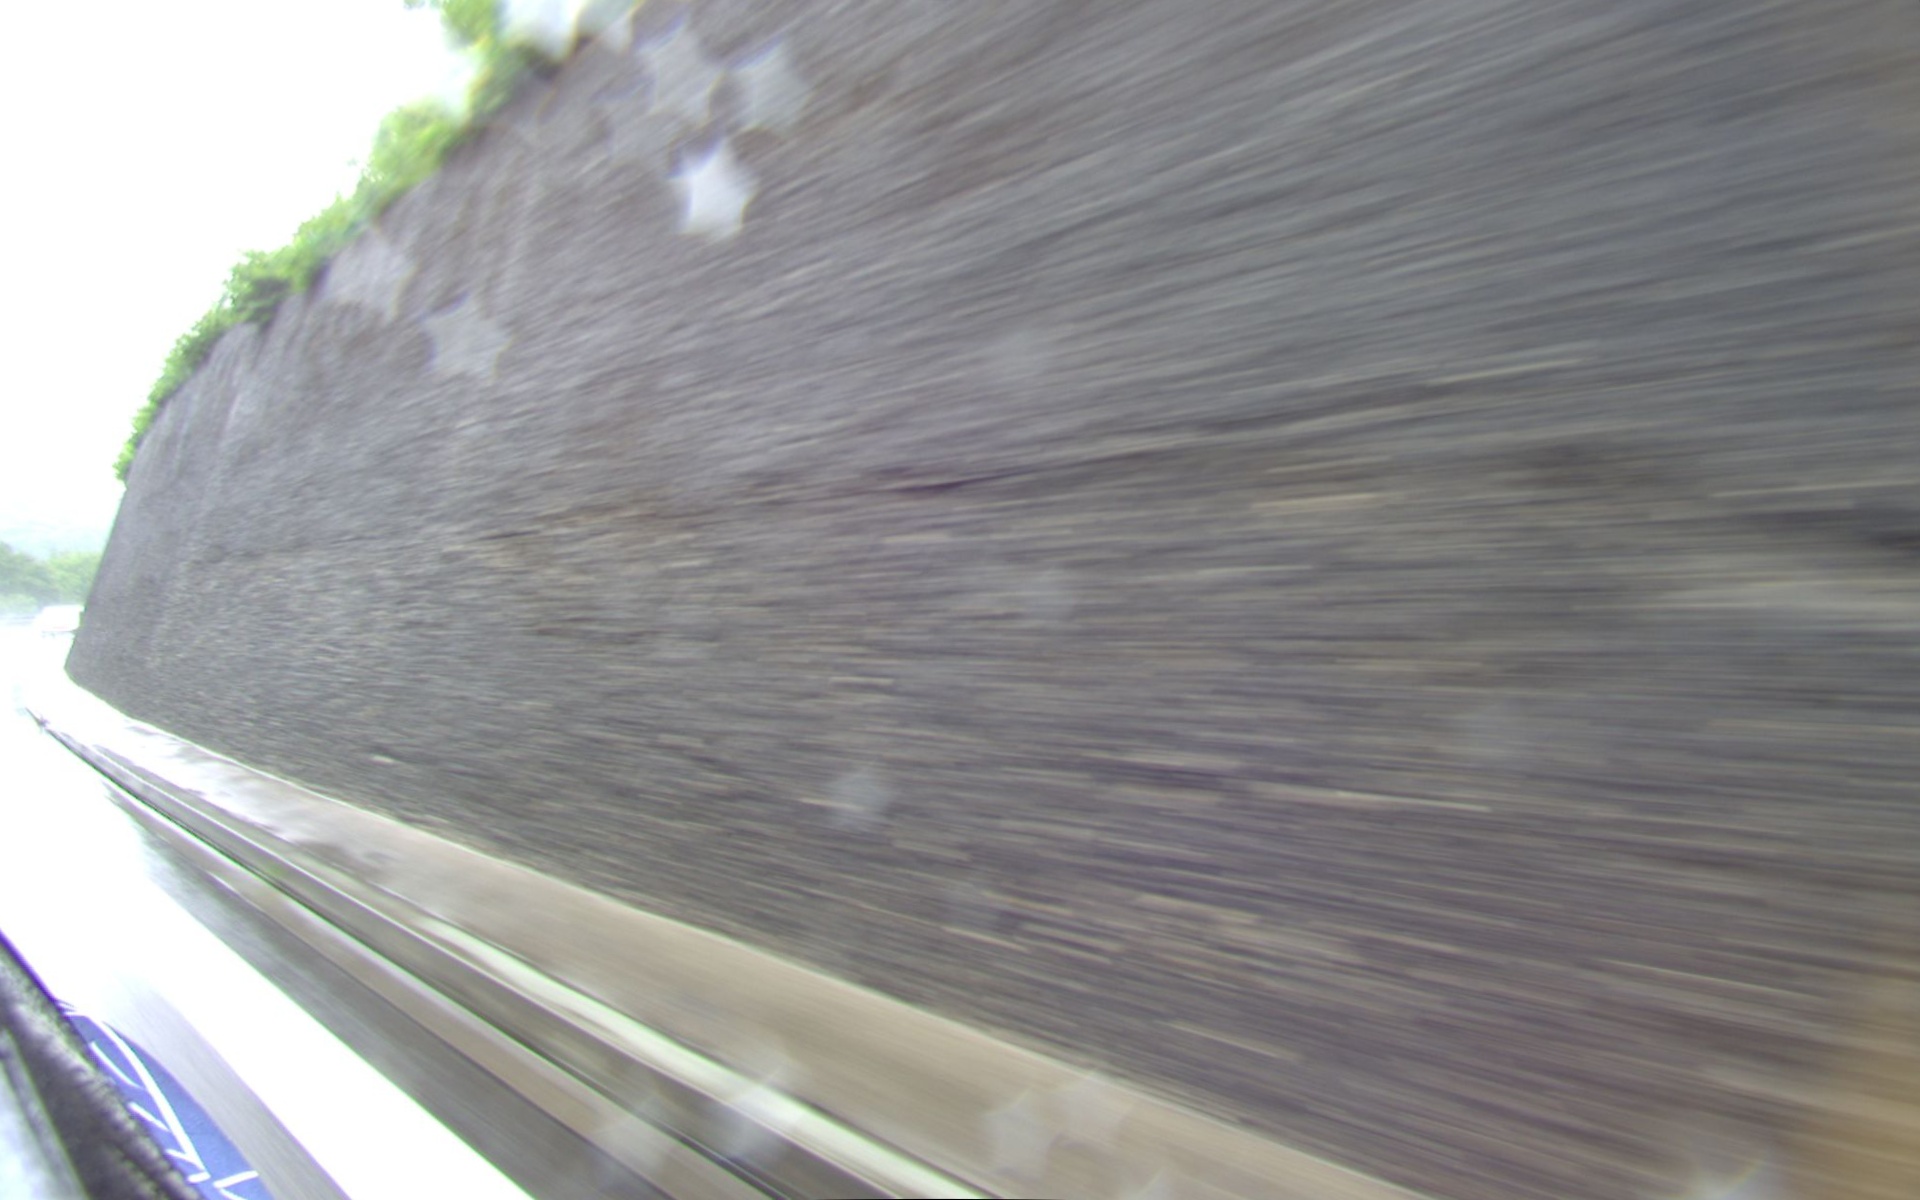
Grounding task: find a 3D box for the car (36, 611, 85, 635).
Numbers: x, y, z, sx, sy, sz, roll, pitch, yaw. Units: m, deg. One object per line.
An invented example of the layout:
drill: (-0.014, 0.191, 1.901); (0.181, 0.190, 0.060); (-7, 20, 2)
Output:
car: (-57.064, 1.429, 64.254); (1.799, 1.393, 4.010); (-3, 1, -35)
